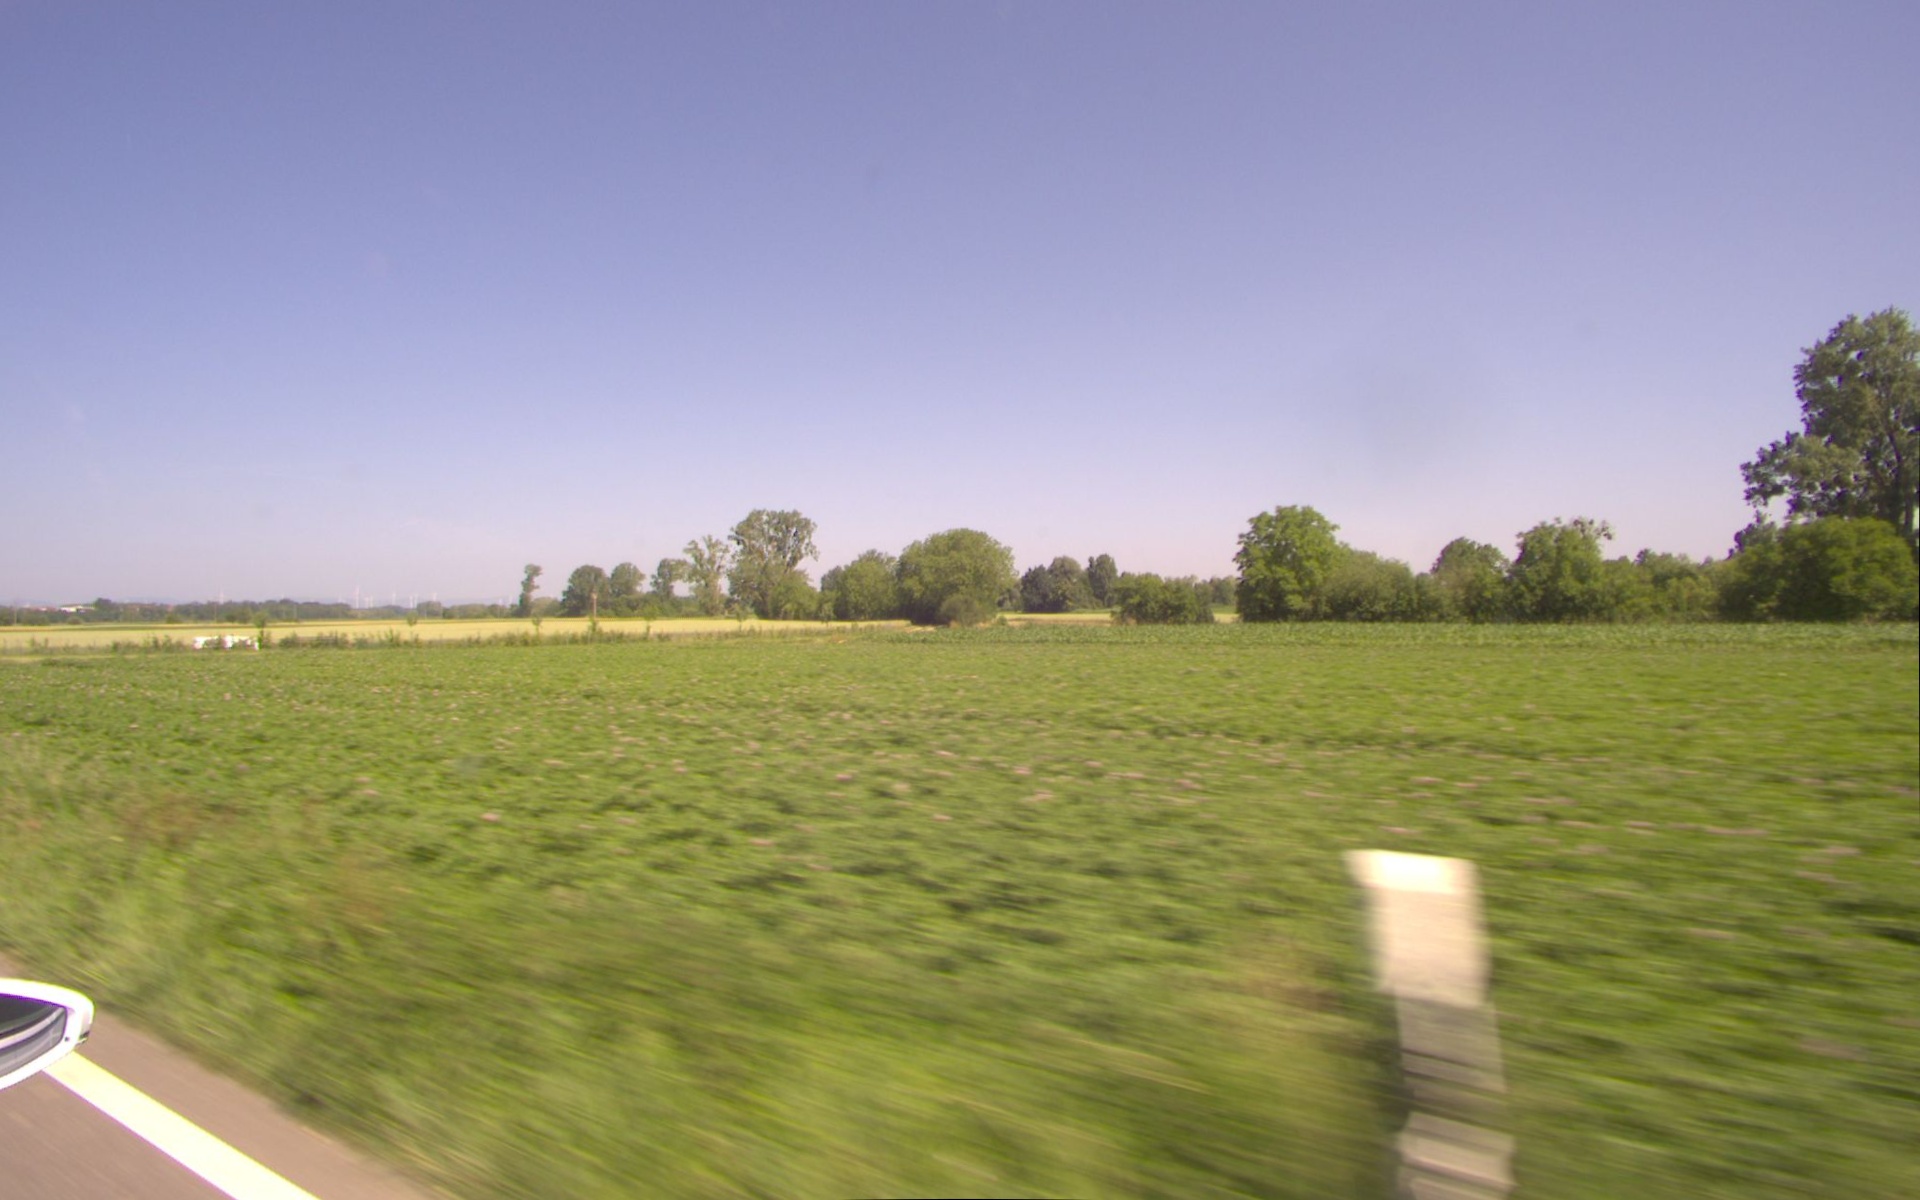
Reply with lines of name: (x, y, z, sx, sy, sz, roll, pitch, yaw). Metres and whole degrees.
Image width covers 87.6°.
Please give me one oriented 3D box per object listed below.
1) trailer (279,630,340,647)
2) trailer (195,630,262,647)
trailer: (-47.580, 2.801, 73.289, 1.646, 1.204, 3.518, -2, -2, 44)
trailer: (-51.127, 2.696, 70.051, 1.646, 1.204, 3.565, -2, -3, 44)
